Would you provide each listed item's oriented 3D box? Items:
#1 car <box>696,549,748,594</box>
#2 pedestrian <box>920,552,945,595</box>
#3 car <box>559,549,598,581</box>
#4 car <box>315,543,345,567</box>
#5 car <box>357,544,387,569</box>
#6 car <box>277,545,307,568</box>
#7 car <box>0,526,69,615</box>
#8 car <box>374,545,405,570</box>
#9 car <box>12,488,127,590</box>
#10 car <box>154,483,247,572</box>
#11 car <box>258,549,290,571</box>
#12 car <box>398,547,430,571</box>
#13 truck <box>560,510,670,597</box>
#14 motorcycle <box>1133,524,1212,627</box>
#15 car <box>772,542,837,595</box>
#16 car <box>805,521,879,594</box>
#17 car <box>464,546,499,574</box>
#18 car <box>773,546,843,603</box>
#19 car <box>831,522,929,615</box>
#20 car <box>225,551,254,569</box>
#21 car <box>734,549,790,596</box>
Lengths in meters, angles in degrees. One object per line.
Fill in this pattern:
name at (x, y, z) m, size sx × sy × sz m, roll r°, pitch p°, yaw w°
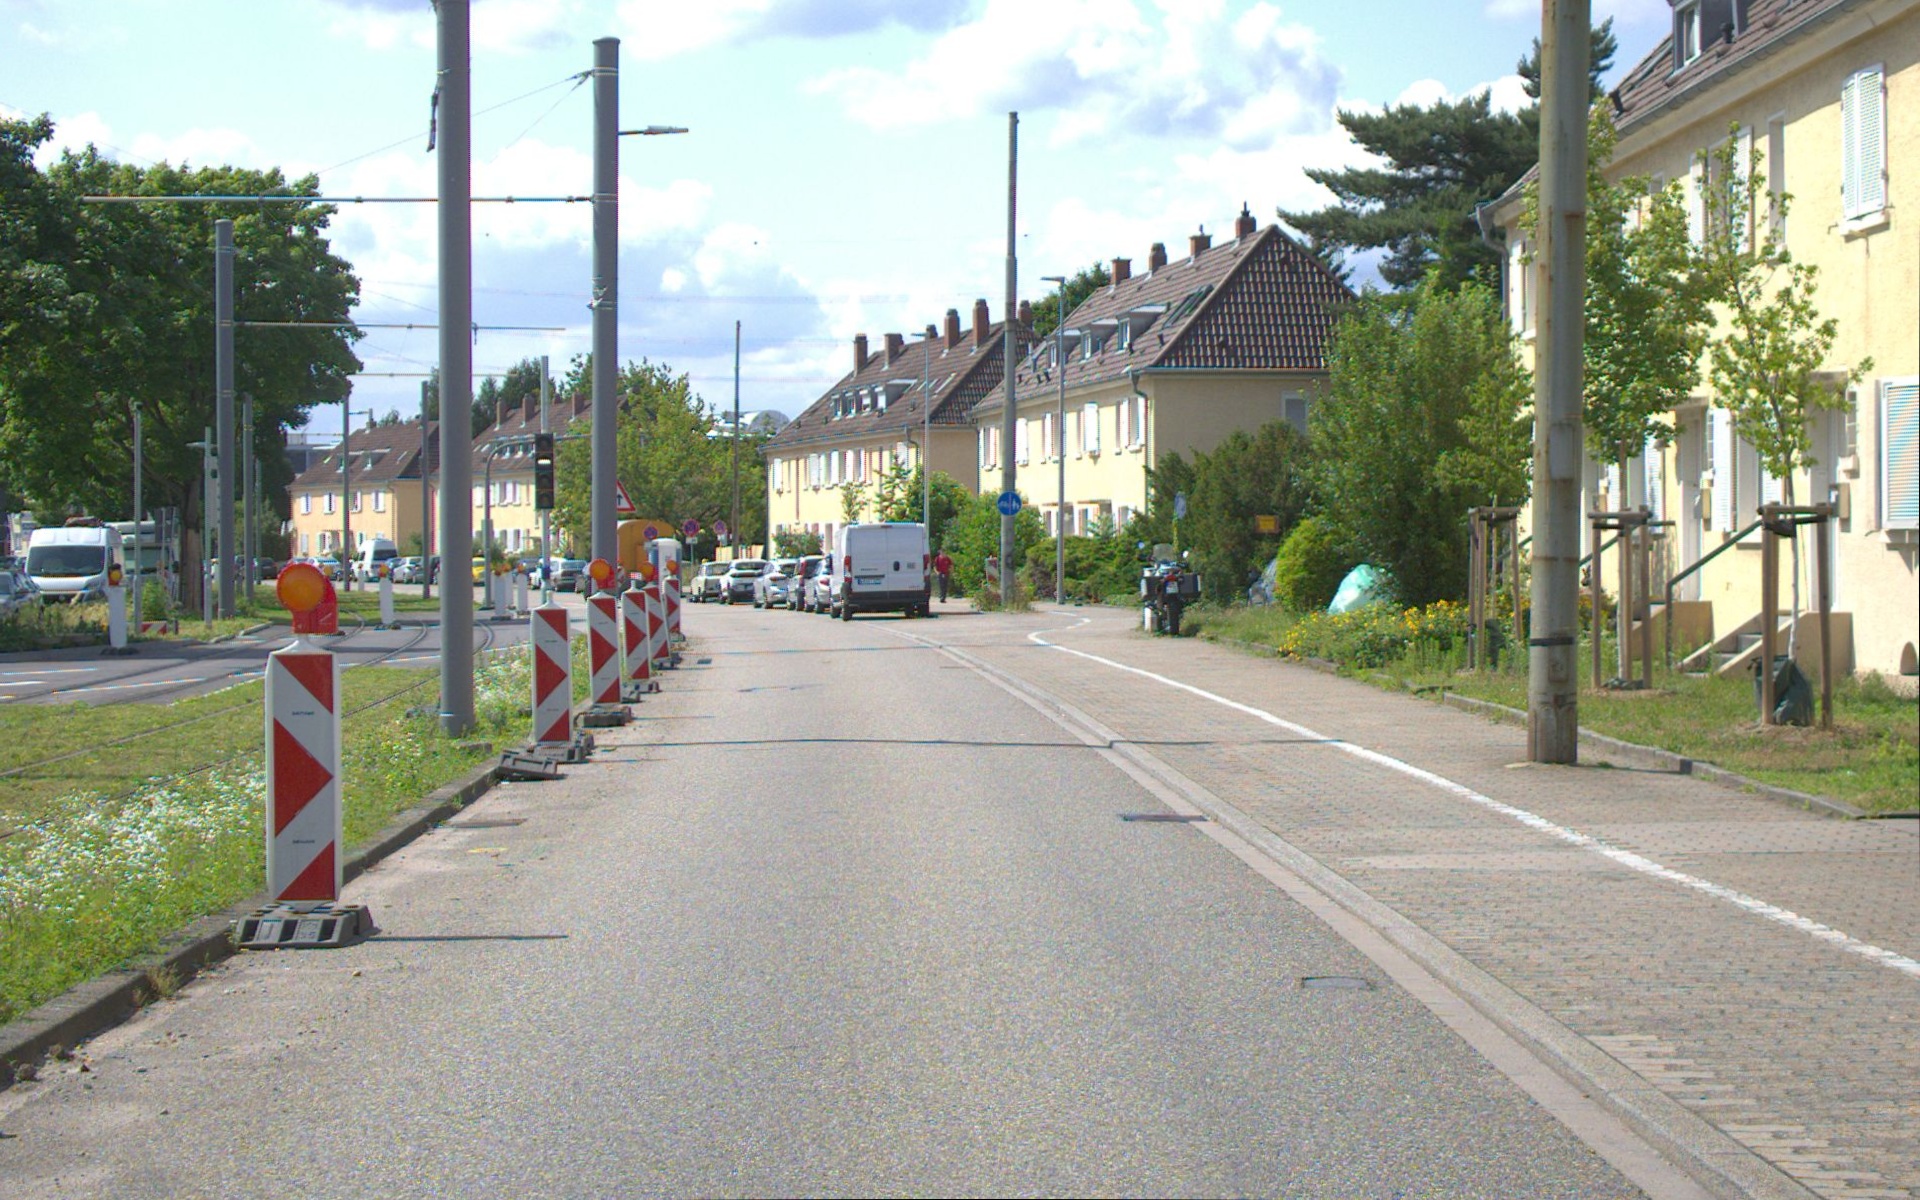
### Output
car at (-8.338, -1.009, 120.156) m, size 1.567 × 1.546 × 3.479 m, roll 0°, pitch 1°, yaw -8°
pedestrian at (-0.812, -0.786, 101.895) m, size 0.632 × 1.250 × 0.727 m, roll 0°, pitch 1°, yaw -10°
car at (-17.322, -1.586, 156.009) m, size 1.257 × 1.421 × 2.666 m, roll 0°, pitch 1°, yaw -18°
car at (-38.566, -2.752, 210.308) m, size 1.257 × 1.421 × 2.666 m, roll 0°, pitch 1°, yaw -23°
car at (-34.218, -2.533, 200.026) m, size 1.165 × 1.421 × 2.666 m, roll 0°, pitch 1°, yaw -22°
car at (-42.276, -2.736, 217.621) m, size 1.257 × 1.421 × 2.666 m, roll 0°, pitch 1°, yaw -25°
car at (-19.397, -0.616, 70.298) m, size 2.093 × 1.770 × 4.122 m, roll 0°, pitch 1°, yaw -12°
car at (-32.527, -2.420, 195.874) m, size 1.165 × 1.421 × 2.666 m, roll 0°, pitch 1°, yaw -22°
car at (-21.075, -1.430, 81.528) m, size 2.406 × 2.330 × 4.881 m, roll 0°, pitch 1°, yaw -12°
car at (-20.726, -1.975, 93.942) m, size 2.406 × 2.362 × 4.881 m, roll 0°, pitch 1°, yaw -12°
car at (-44.807, -2.637, 224.473) m, size 1.257 × 1.421 × 2.665 m, roll 0°, pitch 1°, yaw -29°
car at (-30.448, -2.304, 191.667) m, size 1.257 × 1.346 × 2.666 m, roll 0°, pitch 1°, yaw -21°
truck at (-14.461, -1.942, 143.419) m, size 2.639 × 3.482 × 9.441 m, roll 0°, pitch 1°, yaw -18°
motorcycle at (3.429, -0.402, 55.651) m, size 1.066 × 1.630 × 2.084 m, roll 0°, pitch 1°, yaw -2°
car at (-4.636, -0.956, 102.150) m, size 1.567 × 1.546 × 3.790 m, roll 0°, pitch 1°, yaw -8°
car at (-3.157, -1.128, 91.258) m, size 1.567 × 1.891 × 3.790 m, roll 0°, pitch 1°, yaw -8°
car at (-24.458, -2.035, 175.806) m, size 1.257 × 1.421 × 2.666 m, roll 0°, pitch 1°, yaw -19°
car at (-4.272, -0.733, 96.175) m, size 1.567 × 1.546 × 3.790 m, roll 0°, pitch 1°, yaw -8°
car at (-1.930, -0.756, 81.575) m, size 2.065 × 2.142 × 4.879 m, roll 0°, pitch 1°, yaw -4°
car at (-48.219, -2.676, 230.061) m, size 1.257 × 1.138 × 2.666 m, roll 0°, pitch 1°, yaw -25°
car at (-6.573, -0.922, 113.775) m, size 1.567 × 1.546 × 3.479 m, roll 0°, pitch 1°, yaw -8°
